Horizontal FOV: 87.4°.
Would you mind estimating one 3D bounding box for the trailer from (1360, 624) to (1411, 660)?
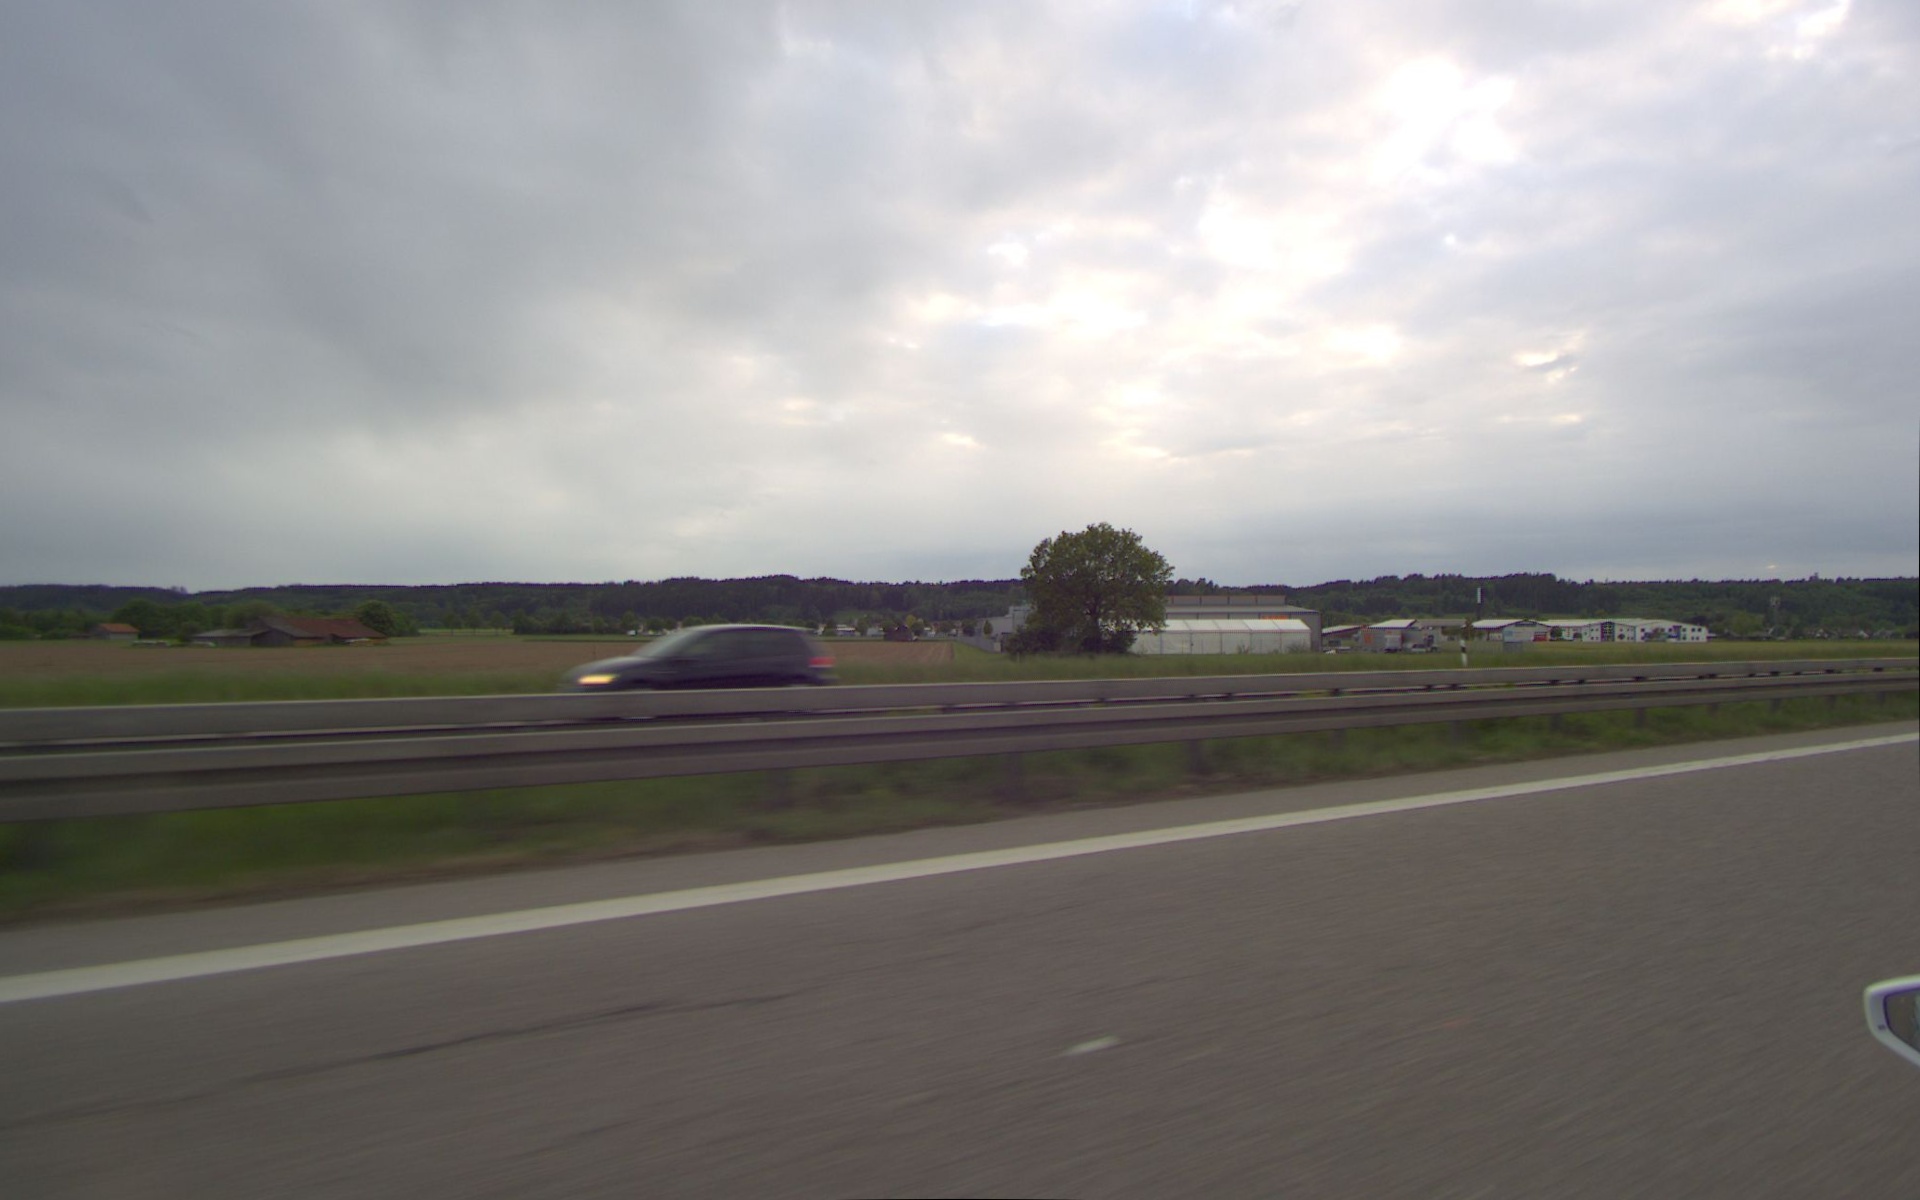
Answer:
[{"bbox_3d":[66.387,6.600,156.926,3.681,5.328,10.085,1,-3,0],"label":"trailer"}]

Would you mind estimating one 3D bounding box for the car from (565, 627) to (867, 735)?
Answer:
[{"bbox_3d":[-3.937,1.234,16.370,4.399,1.499,1.984,1,0,-30],"label":"car"}]

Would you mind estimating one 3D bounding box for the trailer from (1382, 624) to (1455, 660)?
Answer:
[{"bbox_3d":[70.372,6.594,154.881,3.499,5.202,17.040,1,-3,0],"label":"trailer"}]
